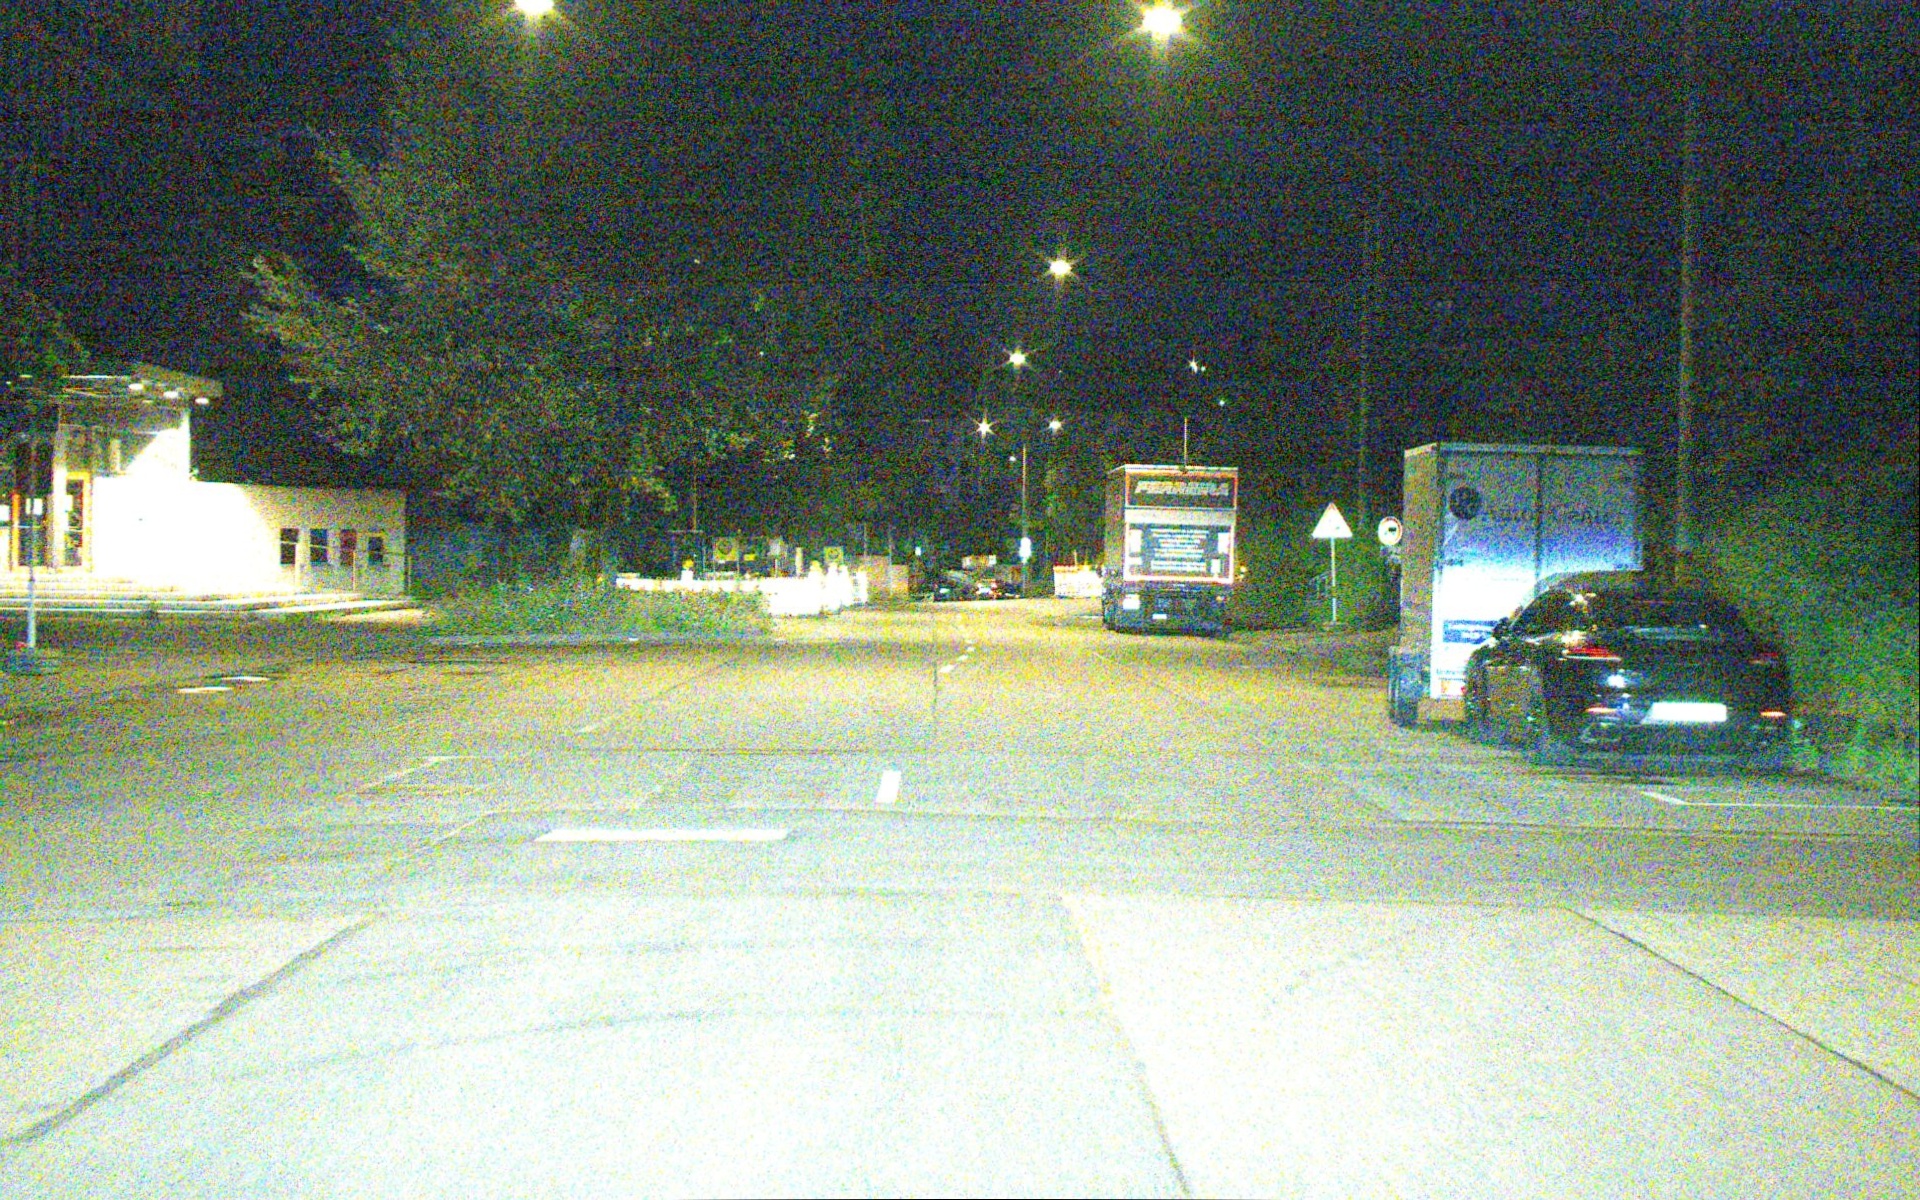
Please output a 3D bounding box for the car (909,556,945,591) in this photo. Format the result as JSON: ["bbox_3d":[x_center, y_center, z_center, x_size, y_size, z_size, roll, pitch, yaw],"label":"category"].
[{"bbox_3d":[-1.645,-1.321,174.295,1.720,1.655,4.000,1,-1,0],"label":"car"}]

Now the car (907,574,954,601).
[{"bbox_3d":[-1.937,-0.800,227.086,1.995,1.694,4.203,1,-1,15],"label":"car"}]

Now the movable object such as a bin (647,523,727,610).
[{"bbox_3d":[-7.863,-0.955,98.891,1.548,2.459,2.840,-1,0,-21],"label":"movable object such as a bin"}]

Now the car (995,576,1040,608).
[{"bbox_3d":[3.399,-0.459,202.567,1.722,1.815,3.997,1,-1,15],"label":"car"}]

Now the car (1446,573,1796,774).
[{"bbox_3d":[5.187,0.522,27.587,1.726,1.382,4.677,1,1,-2],"label":"car"}]

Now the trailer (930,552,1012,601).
[{"bbox_3d":[0.485,-1.070,159.443,1.559,2.153,5.222,-1,0,-28],"label":"trailer"}]

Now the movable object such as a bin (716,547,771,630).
[{"bbox_3d":[-7.500,-0.424,118.729,1.570,2.724,3.702,-2,1,-7],"label":"movable object such as a bin"}]

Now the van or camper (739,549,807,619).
[{"bbox_3d":[-8.446,-0.712,156.214,2.519,3.084,7.445,-1,0,1],"label":"van or camper"}]

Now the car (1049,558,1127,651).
[{"bbox_3d":[3.704,0.088,99.534,2.109,2.507,6.371,2,1,2],"label":"car"}]

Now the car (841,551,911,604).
[{"bbox_3d":[-5.125,-1.378,210.956,2.520,3.160,7.133,-1,0,13],"label":"car"}]

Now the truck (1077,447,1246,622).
[{"bbox_3d":[4.686,-1.505,81.922,3.324,3.855,9.328,1,0,0],"label":"truck"}]

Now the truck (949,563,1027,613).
[{"bbox_3d":[2.008,-0.871,239.831,1.996,3.392,8.968,2,1,24],"label":"truck"}]

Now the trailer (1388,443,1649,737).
[{"bbox_3d":[5.366,-0.124,33.515,1.994,2.642,4.000,2,1,3],"label":"trailer"}]
